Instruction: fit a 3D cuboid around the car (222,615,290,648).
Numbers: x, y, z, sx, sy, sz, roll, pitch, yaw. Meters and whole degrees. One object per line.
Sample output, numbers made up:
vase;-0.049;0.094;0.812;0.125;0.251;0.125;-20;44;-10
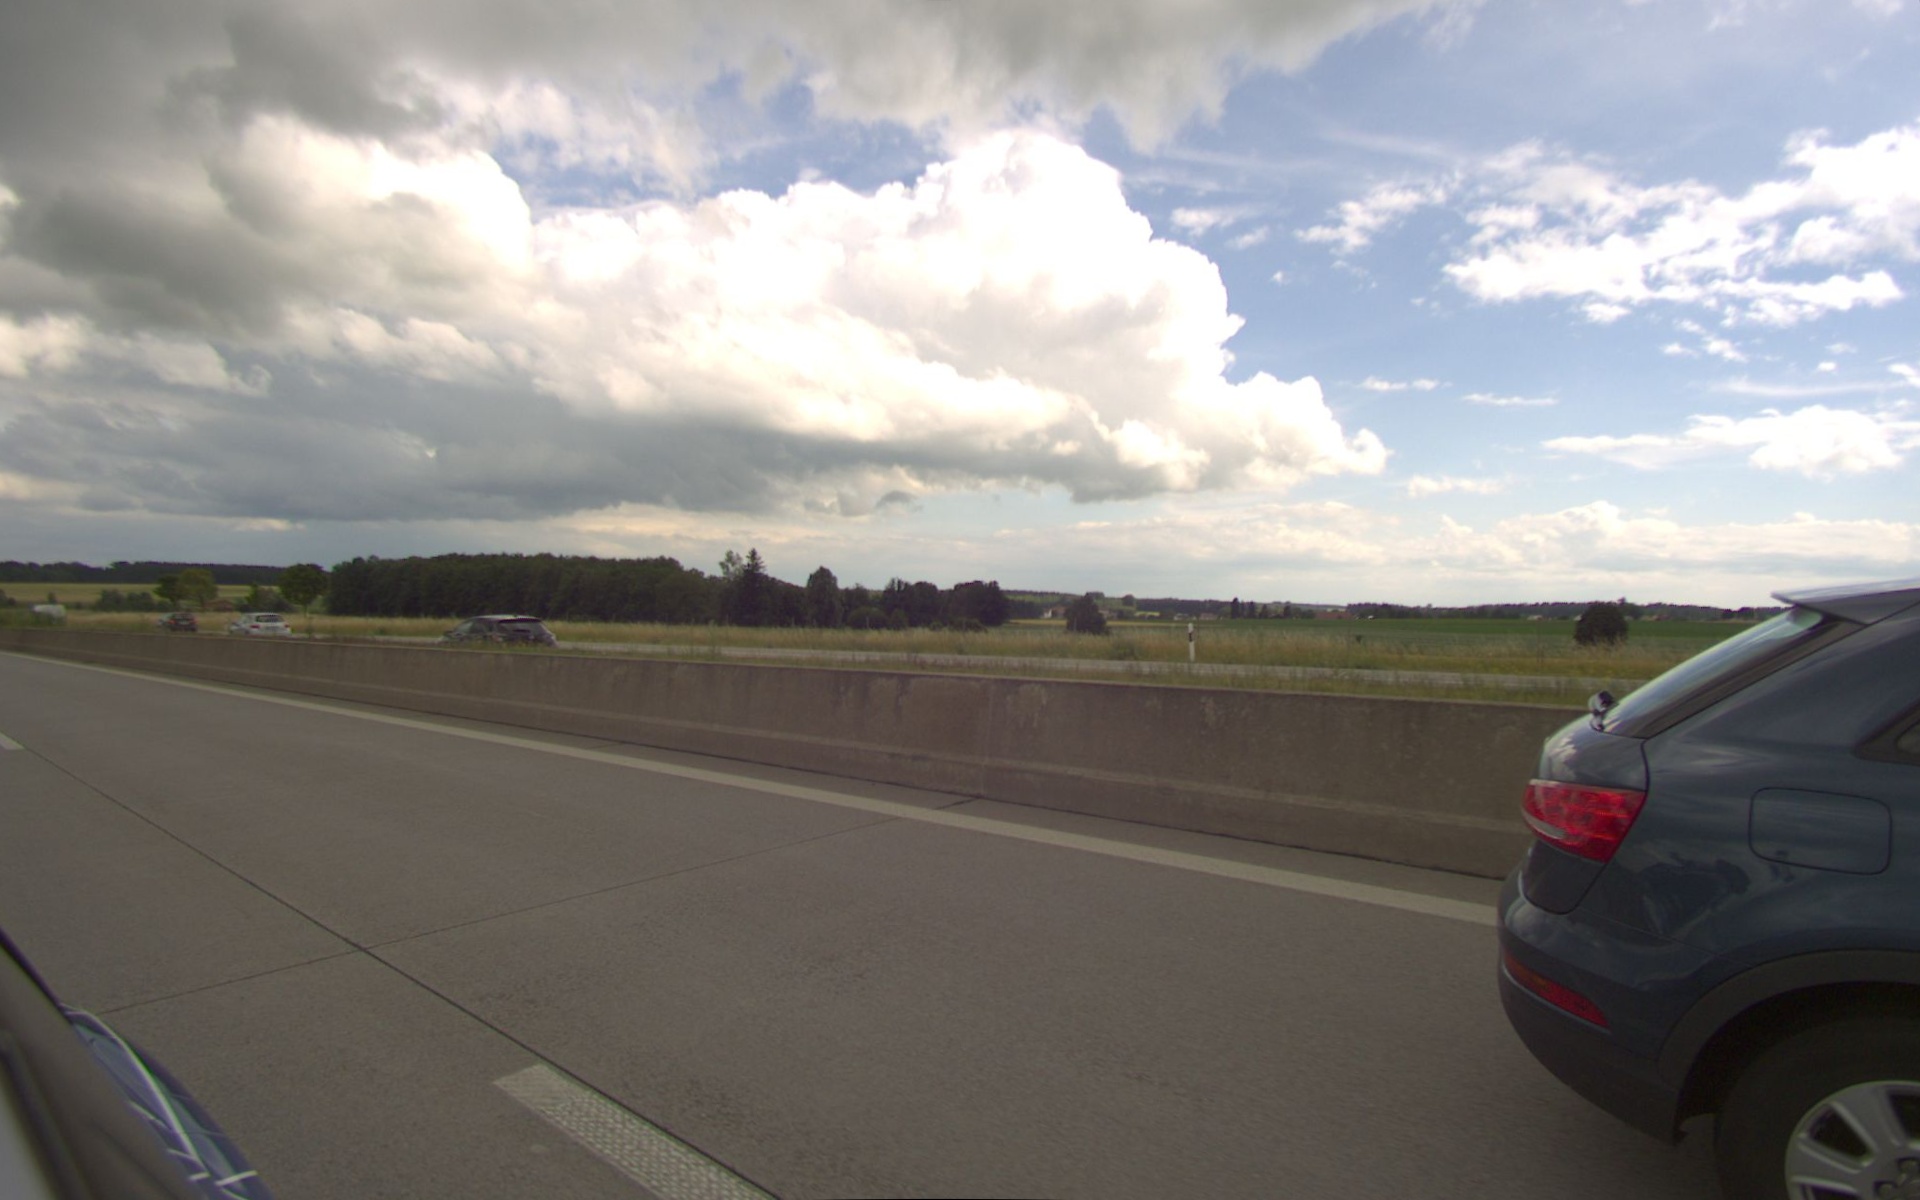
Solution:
car;-35.077;1.525;50.374;4.515;1.518;1.760;0;0;41

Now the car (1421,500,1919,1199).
car;3.593;0.597;1.333;5.152;1.608;1.775;-1;0;40

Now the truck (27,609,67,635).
truck;-97.138;2.320;107.629;7.442;2.586;2.123;0;0;40

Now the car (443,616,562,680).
car;-11.600;1.169;25.629;3.098;1.482;1.599;-1;0;41

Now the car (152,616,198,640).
car;-58.776;2.080;75.745;4.941;1.653;1.731;-1;-1;41
